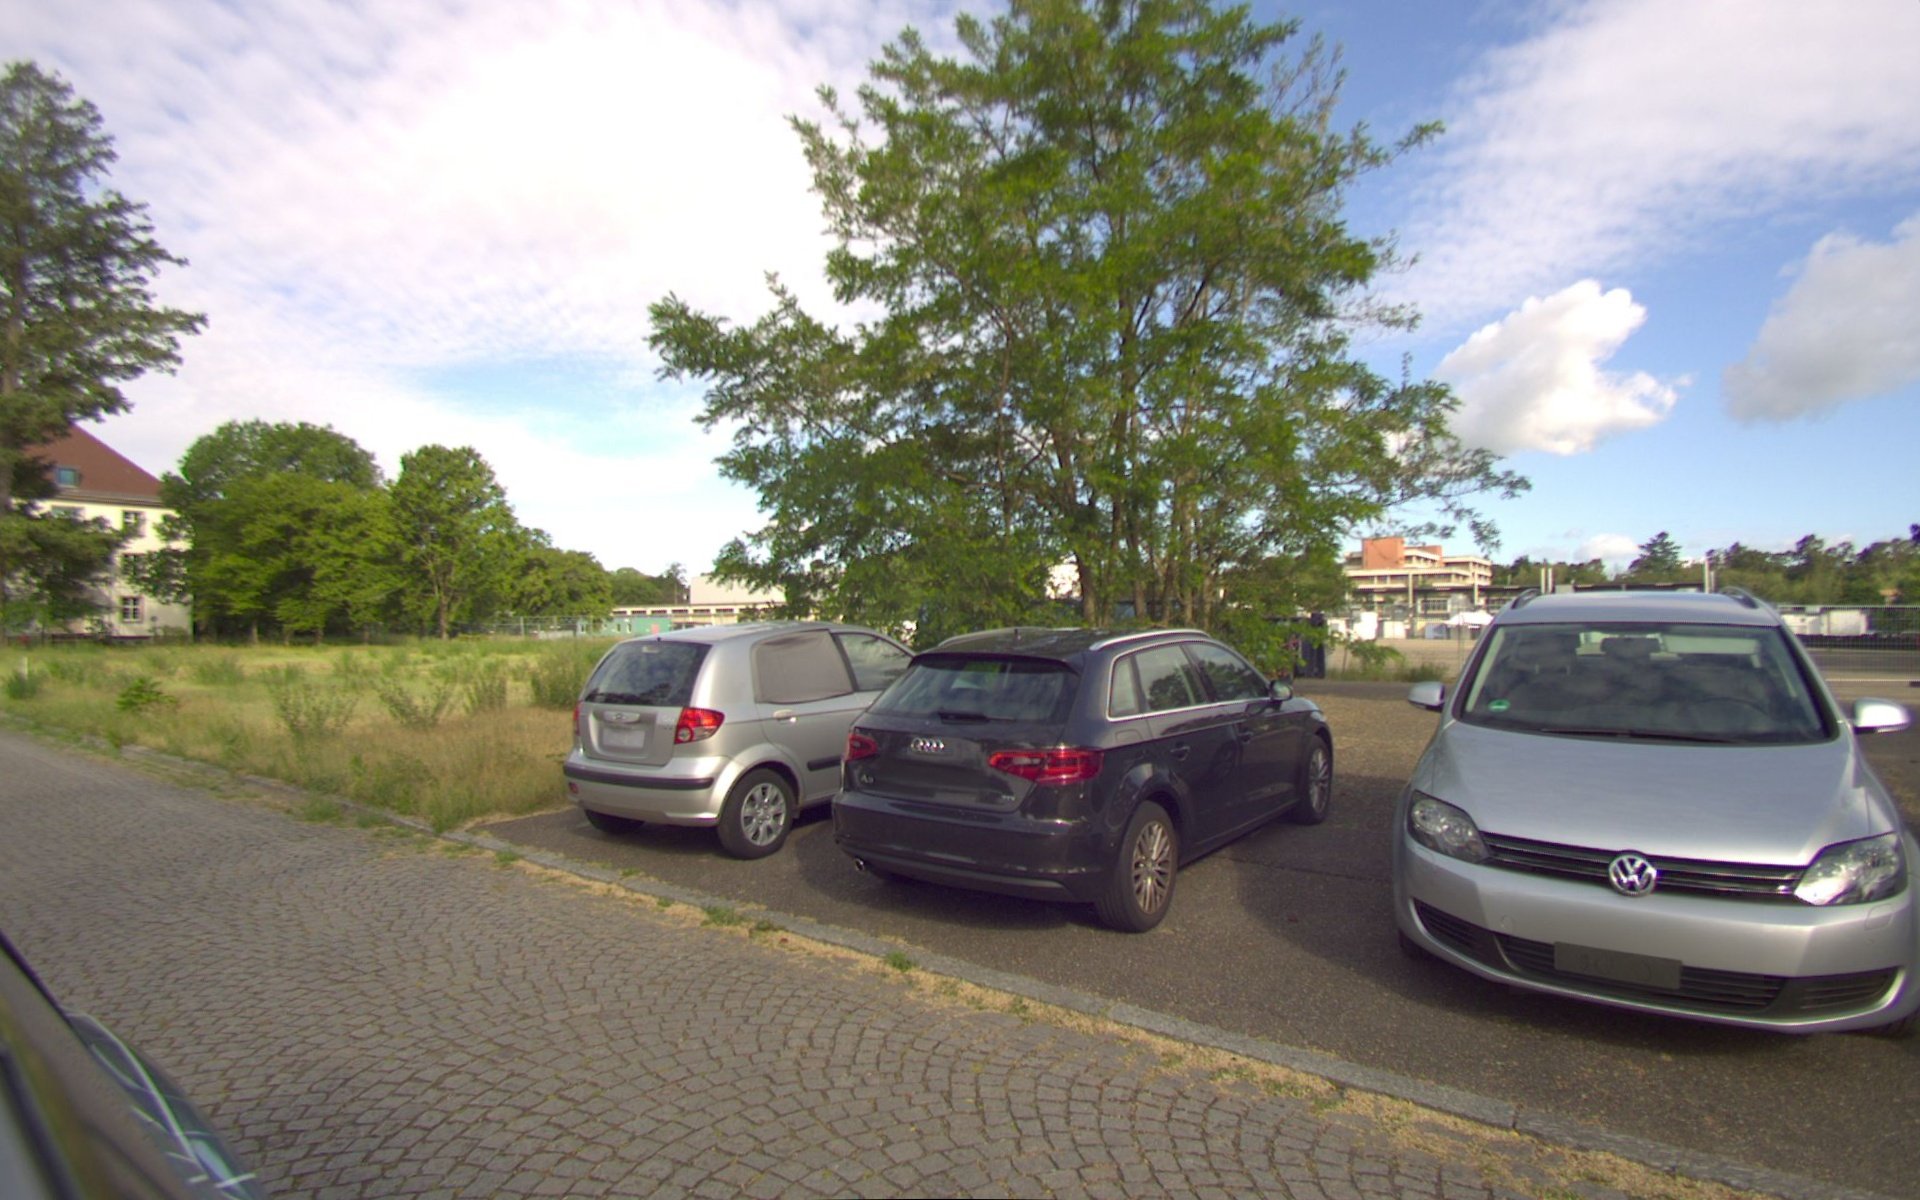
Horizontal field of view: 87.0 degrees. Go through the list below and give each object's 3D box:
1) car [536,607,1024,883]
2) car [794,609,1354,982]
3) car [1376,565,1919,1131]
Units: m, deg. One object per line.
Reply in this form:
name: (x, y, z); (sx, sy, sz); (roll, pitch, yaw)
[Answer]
car: (-1.151, 0.863, 7.782); (1.643, 1.487, 3.546); (-1, 1, 35)
car: (0.975, 0.835, 6.196); (1.693, 1.419, 3.801); (-2, 0, 37)
car: (3.343, 0.689, 4.789); (1.731, 1.619, 3.798); (-2, 0, 35)
